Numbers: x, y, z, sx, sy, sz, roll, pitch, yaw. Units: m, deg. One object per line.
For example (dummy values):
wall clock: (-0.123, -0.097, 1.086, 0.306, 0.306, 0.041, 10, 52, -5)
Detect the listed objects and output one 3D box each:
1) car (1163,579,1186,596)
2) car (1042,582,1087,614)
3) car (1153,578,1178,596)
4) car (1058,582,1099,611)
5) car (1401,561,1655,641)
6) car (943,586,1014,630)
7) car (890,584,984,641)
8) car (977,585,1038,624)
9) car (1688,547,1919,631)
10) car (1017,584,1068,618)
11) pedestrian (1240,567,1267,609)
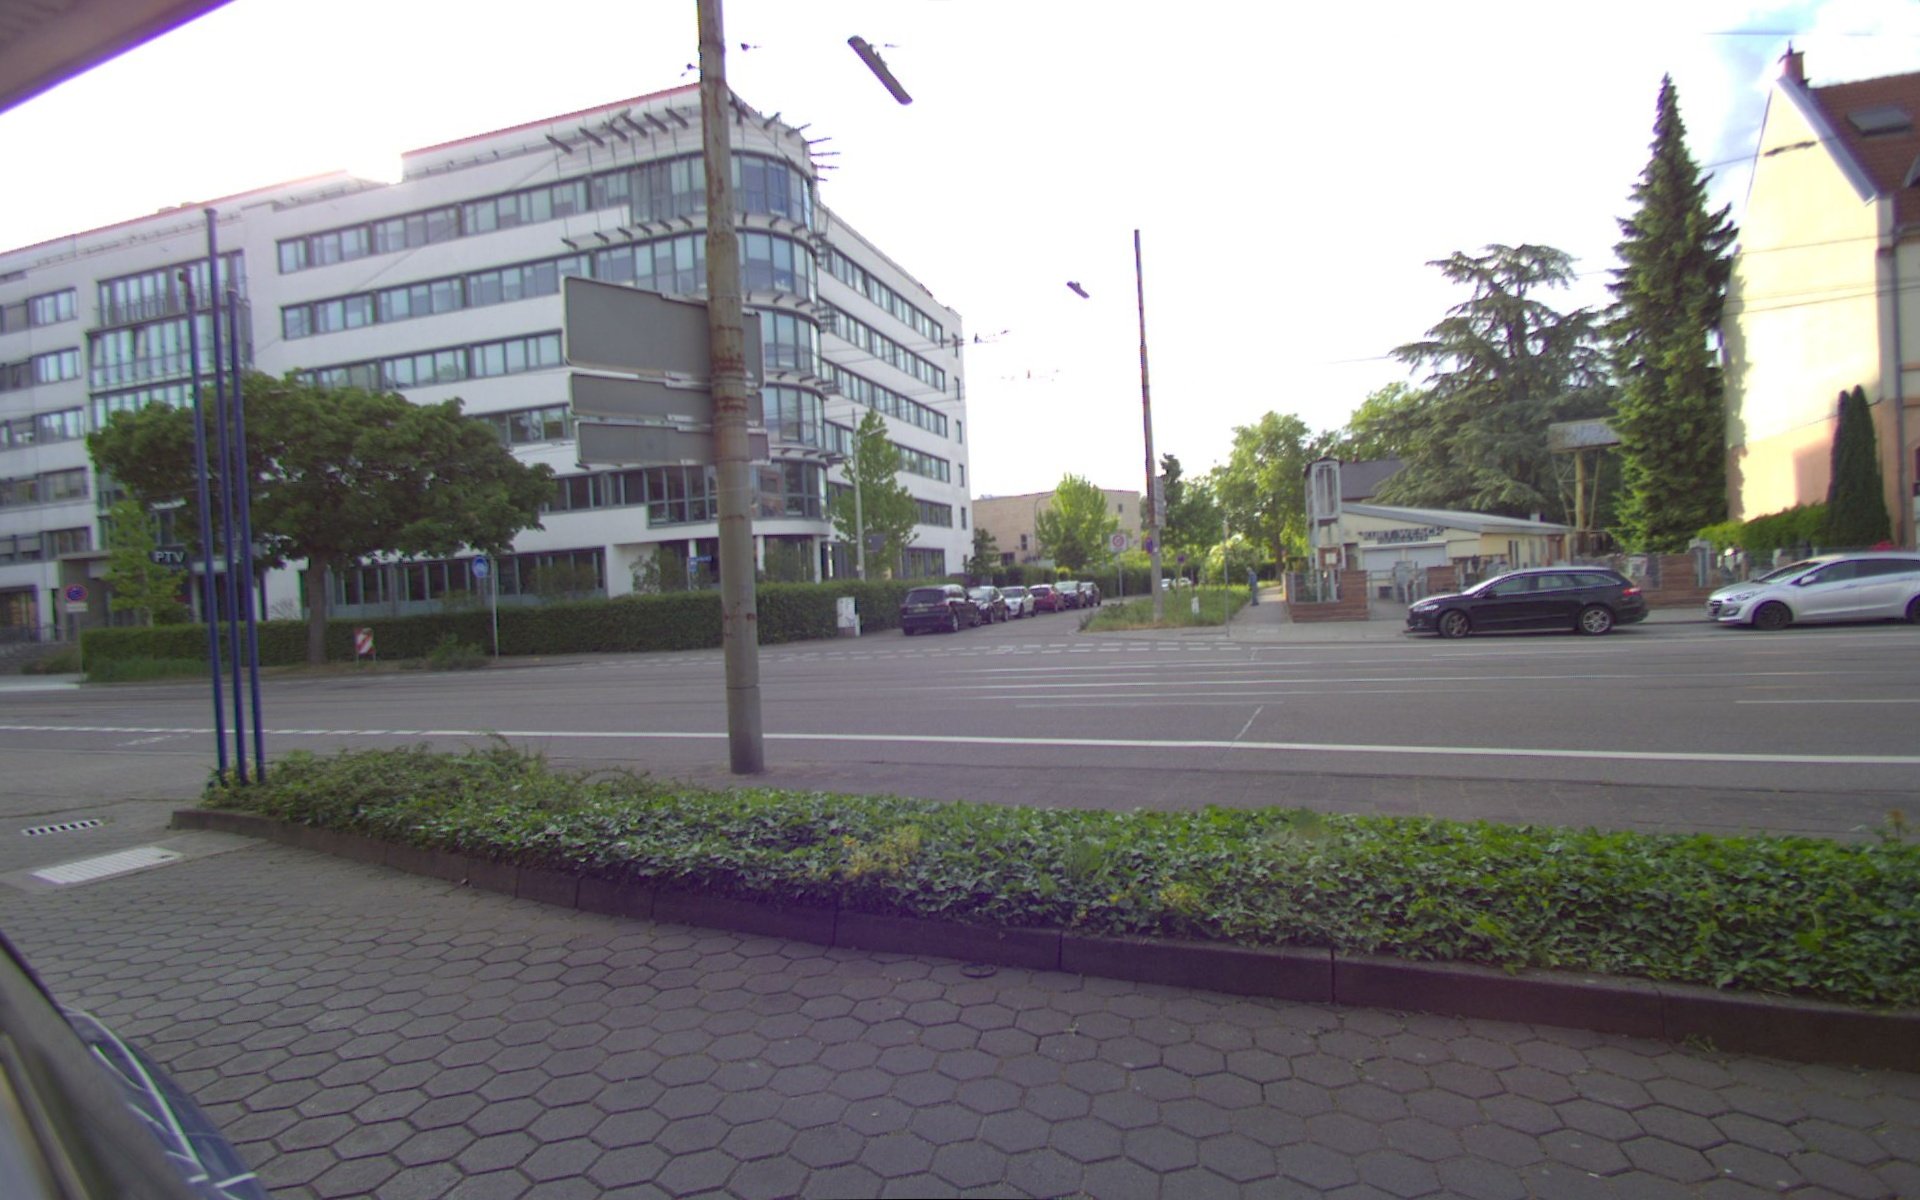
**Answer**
car: (22.573, -1.303, 106.306, 1.774, 1.653, 4.060, -4, 0, 19)
car: (5.986, -0.137, 57.657, 1.773, 1.653, 4.064, -4, 0, 17)
car: (20.434, -1.274, 100.609, 1.774, 1.653, 4.060, -4, 0, 19)
car: (7.378, -0.234, 62.668, 1.773, 1.653, 4.064, -4, 0, 17)
car: (12.918, 0.045, 23.411, 4.791, 1.507, 1.986, -3, 0, 22)
car: (0.802, 0.290, 40.890, 1.773, 1.565, 4.083, -4, 0, 17)
car: (-0.719, 0.382, 35.533, 1.962, 1.625, 4.411, -4, 2, 17)
car: (2.210, 0.176, 45.752, 1.773, 1.565, 4.083, -4, 0, 17)
car: (18.494, -0.256, 21.493, 4.459, 1.486, 1.986, -4, 0, 22)
car: (4.291, 0.023, 52.356, 1.773, 1.552, 4.018, -4, 0, 17)
pedestrian: (13.116, -0.518, 45.154, 1.000, 1.843, 1.083, -1, 0, 24)
